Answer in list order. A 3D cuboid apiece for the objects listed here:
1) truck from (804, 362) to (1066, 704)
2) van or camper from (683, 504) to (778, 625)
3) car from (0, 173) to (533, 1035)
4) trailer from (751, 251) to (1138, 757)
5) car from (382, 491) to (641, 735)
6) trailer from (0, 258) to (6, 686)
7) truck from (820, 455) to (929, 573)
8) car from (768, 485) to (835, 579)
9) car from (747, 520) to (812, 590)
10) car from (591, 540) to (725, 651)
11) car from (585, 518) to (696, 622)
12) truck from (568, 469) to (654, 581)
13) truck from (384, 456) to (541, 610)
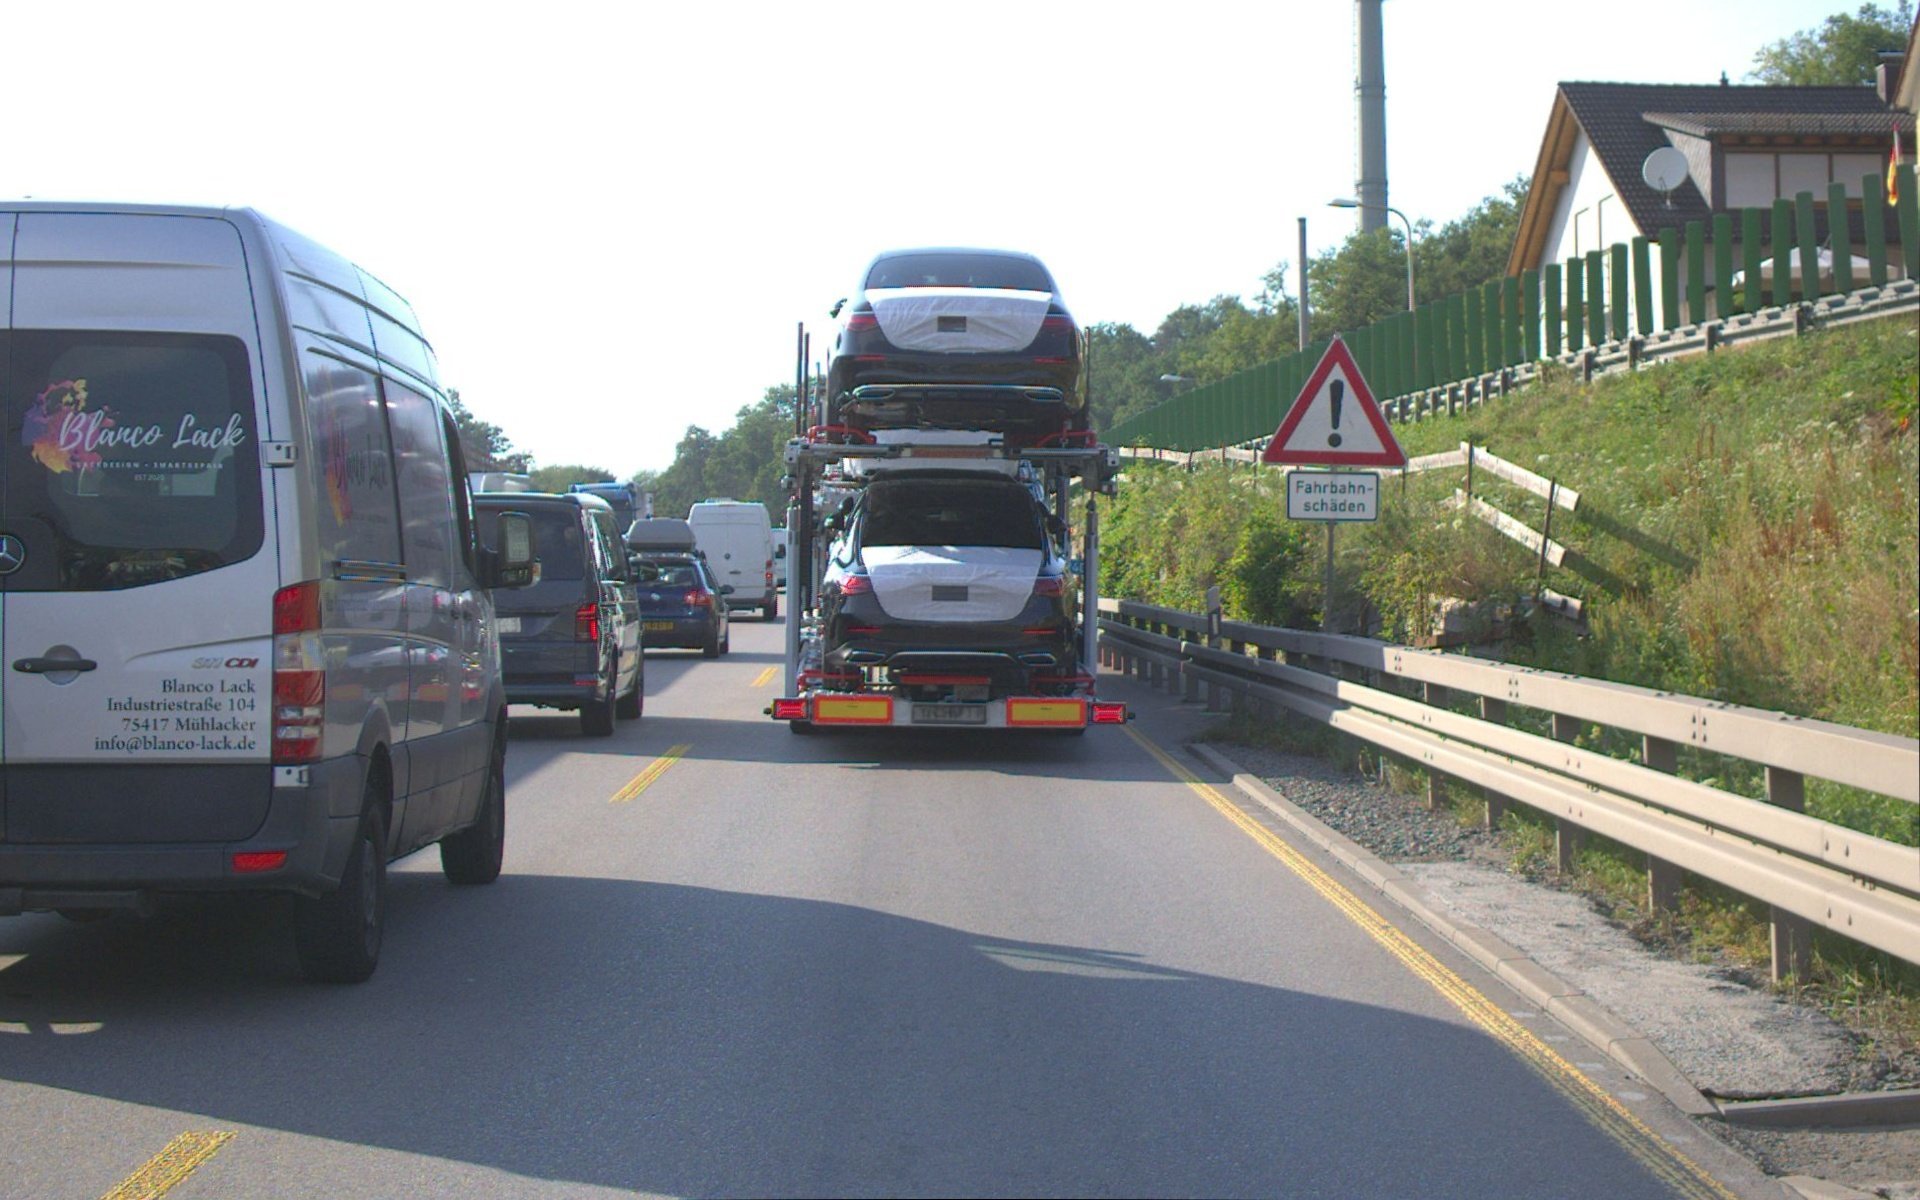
[{"bbox_3d":[-0.298,-0.713,39.342,2.682,3.523,7.194,1,0,-1],"label":"truck"},{"bbox_3d":[-5.075,-0.763,76.487,1.968,2.583,5.042,1,0,-3],"label":"van or camper"},{"bbox_3d":[-2.972,-0.031,13.325,1.993,2.639,5.531,-1,1,-1],"label":"car"},{"bbox_3d":[-0.196,-0.704,31.773,2.682,3.523,15.289,1,0,-1],"label":"trailer"},{"bbox_3d":[-3.719,0.108,29.088,1.808,1.897,4.000,1,0,-2],"label":"car"},{"bbox_3d":[-10.507,-1.086,26.296,2.764,4.127,14.026,1,1,-1],"label":"trailer"},{"bbox_3d":[-3.432,-3.499,141.558,4.065,4.663,10.592,0,1,1],"label":"truck"},{"bbox_3d":[-8.827,-3.735,190.455,3.444,5.018,9.654,0,1,-4],"label":"car"},{"bbox_3d":[-5.545,-1.386,106.154,1.885,2.093,3.766,0,1,-1],"label":"car"},{"bbox_3d":[-4.331,-0.090,49.770,1.725,1.517,3.974,1,1,-2],"label":"car"},{"bbox_3d":[-7.944,-0.745,85.854,2.471,2.525,4.000,0,0,-1],"label":"car"},{"bbox_3d":[-13.619,-2.929,134.798,2.624,4.098,9.629,-3,1,-3],"label":"truck"},{"bbox_3d":[-11.915,-1.553,82.954,2.714,3.413,8.141,-3,0,-2],"label":"truck"}]
